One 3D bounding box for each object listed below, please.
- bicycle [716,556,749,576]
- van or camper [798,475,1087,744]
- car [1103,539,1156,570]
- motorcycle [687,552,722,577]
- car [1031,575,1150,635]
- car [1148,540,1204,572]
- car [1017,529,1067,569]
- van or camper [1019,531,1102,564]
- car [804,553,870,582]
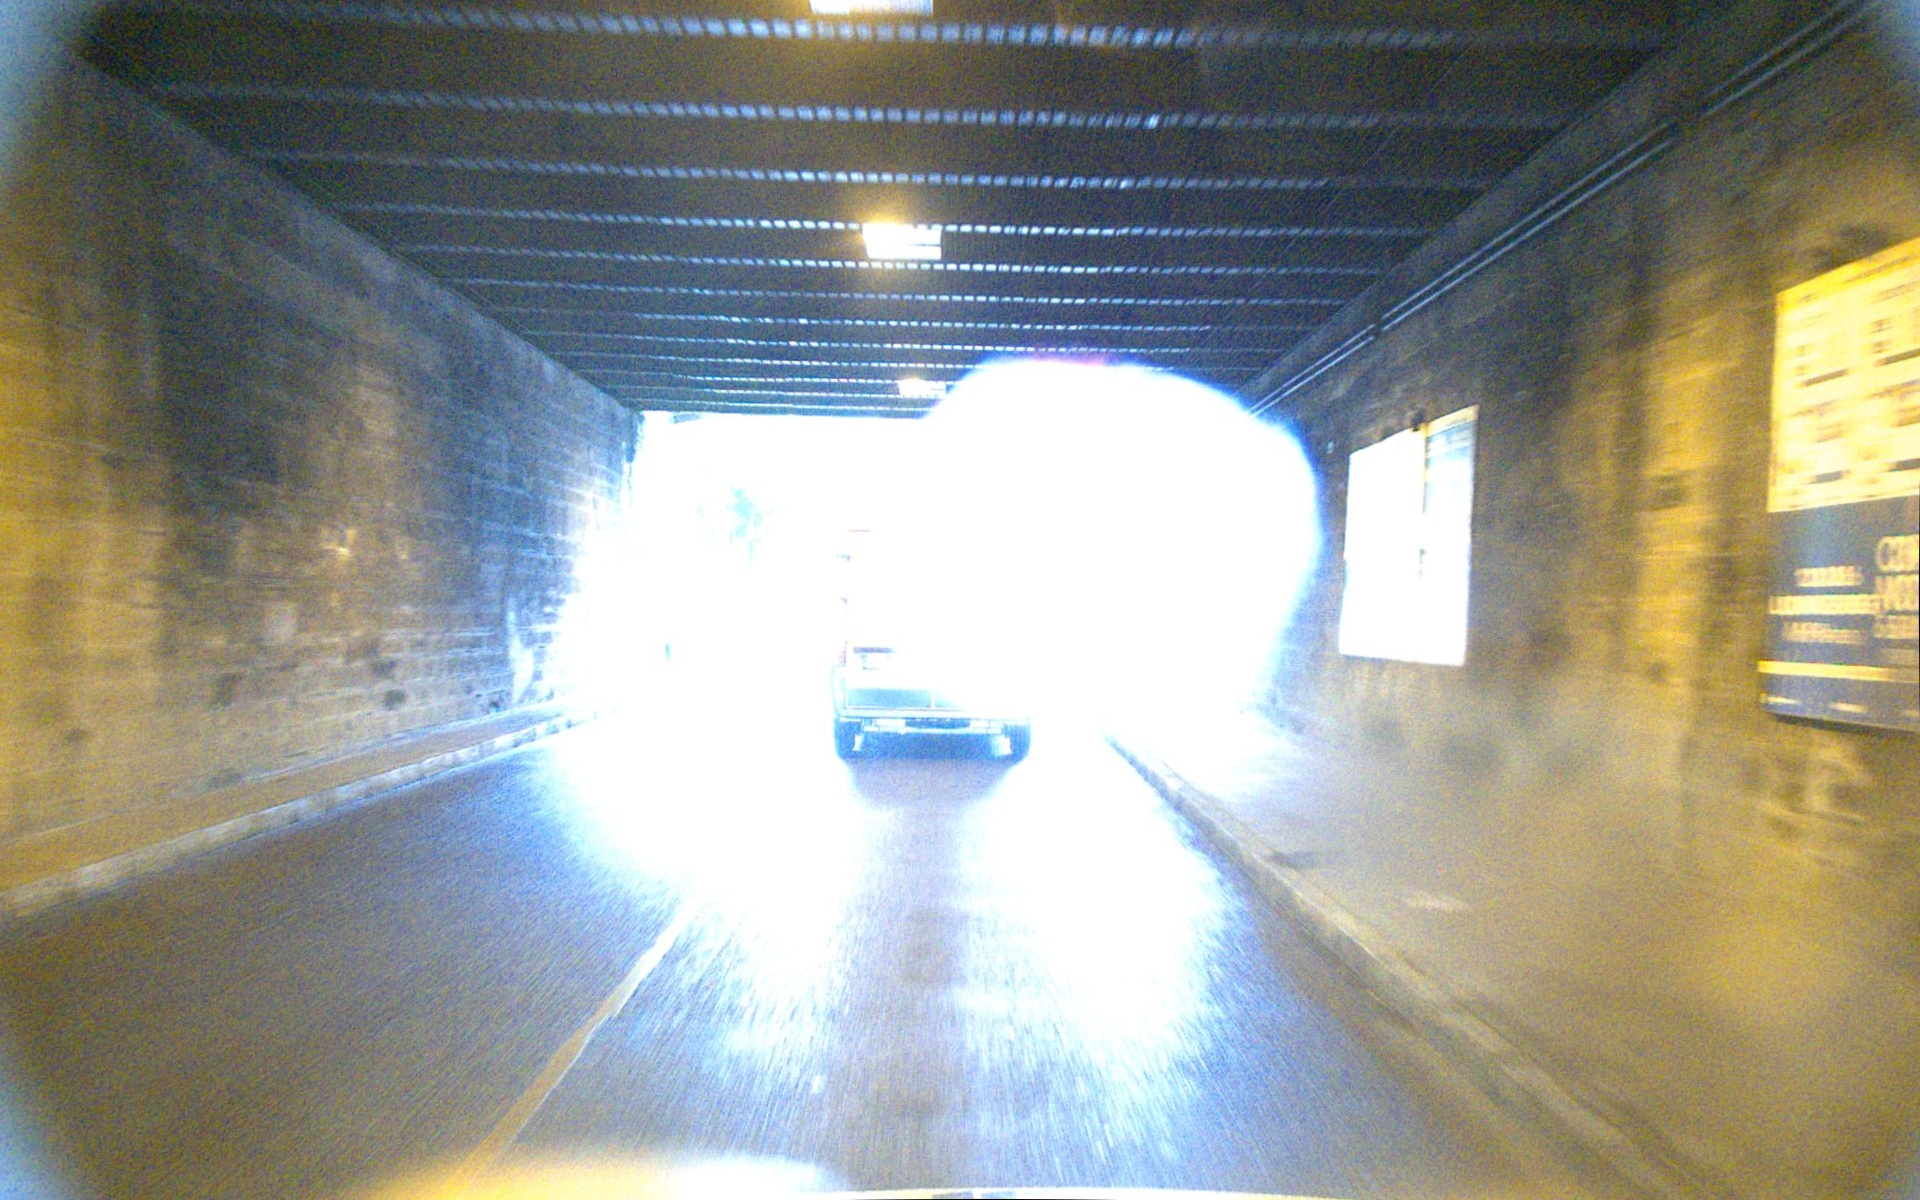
[{"bbox_3d":[-13.324,-1.994,96.953,0.908,1.148,2.291,0,1,20],"label":"bicycle"},{"bbox_3d":[-0.183,0.145,17.605,2.643,2.459,4.902,0,-1,-1],"label":"van or camper"},{"bbox_3d":[8.776,-2.335,85.954,1.955,1.512,3.994,0,1,-7],"label":"car"},{"bbox_3d":[-14.988,-2.074,97.127,1.948,1.447,0.658,0,0,-5],"label":"motorcycle"},{"bbox_3d":[3.415,0.124,42.575,1.799,1.463,4.101,-1,0,24],"label":"car"},{"bbox_3d":[11.190,-2.275,85.878,1.955,1.566,3.994,0,1,-7],"label":"car"},{"bbox_3d":[4.194,-2.630,85.526,1.955,1.982,3.994,0,1,-7],"label":"car"},{"bbox_3d":[6.387,-3.331,104.684,5.196,2.049,2.079,0,0,5],"label":"van or camper"},{"bbox_3d":[-7.439,-1.928,100.169,1.959,1.718,3.987,0,1,35],"label":"car"}]
